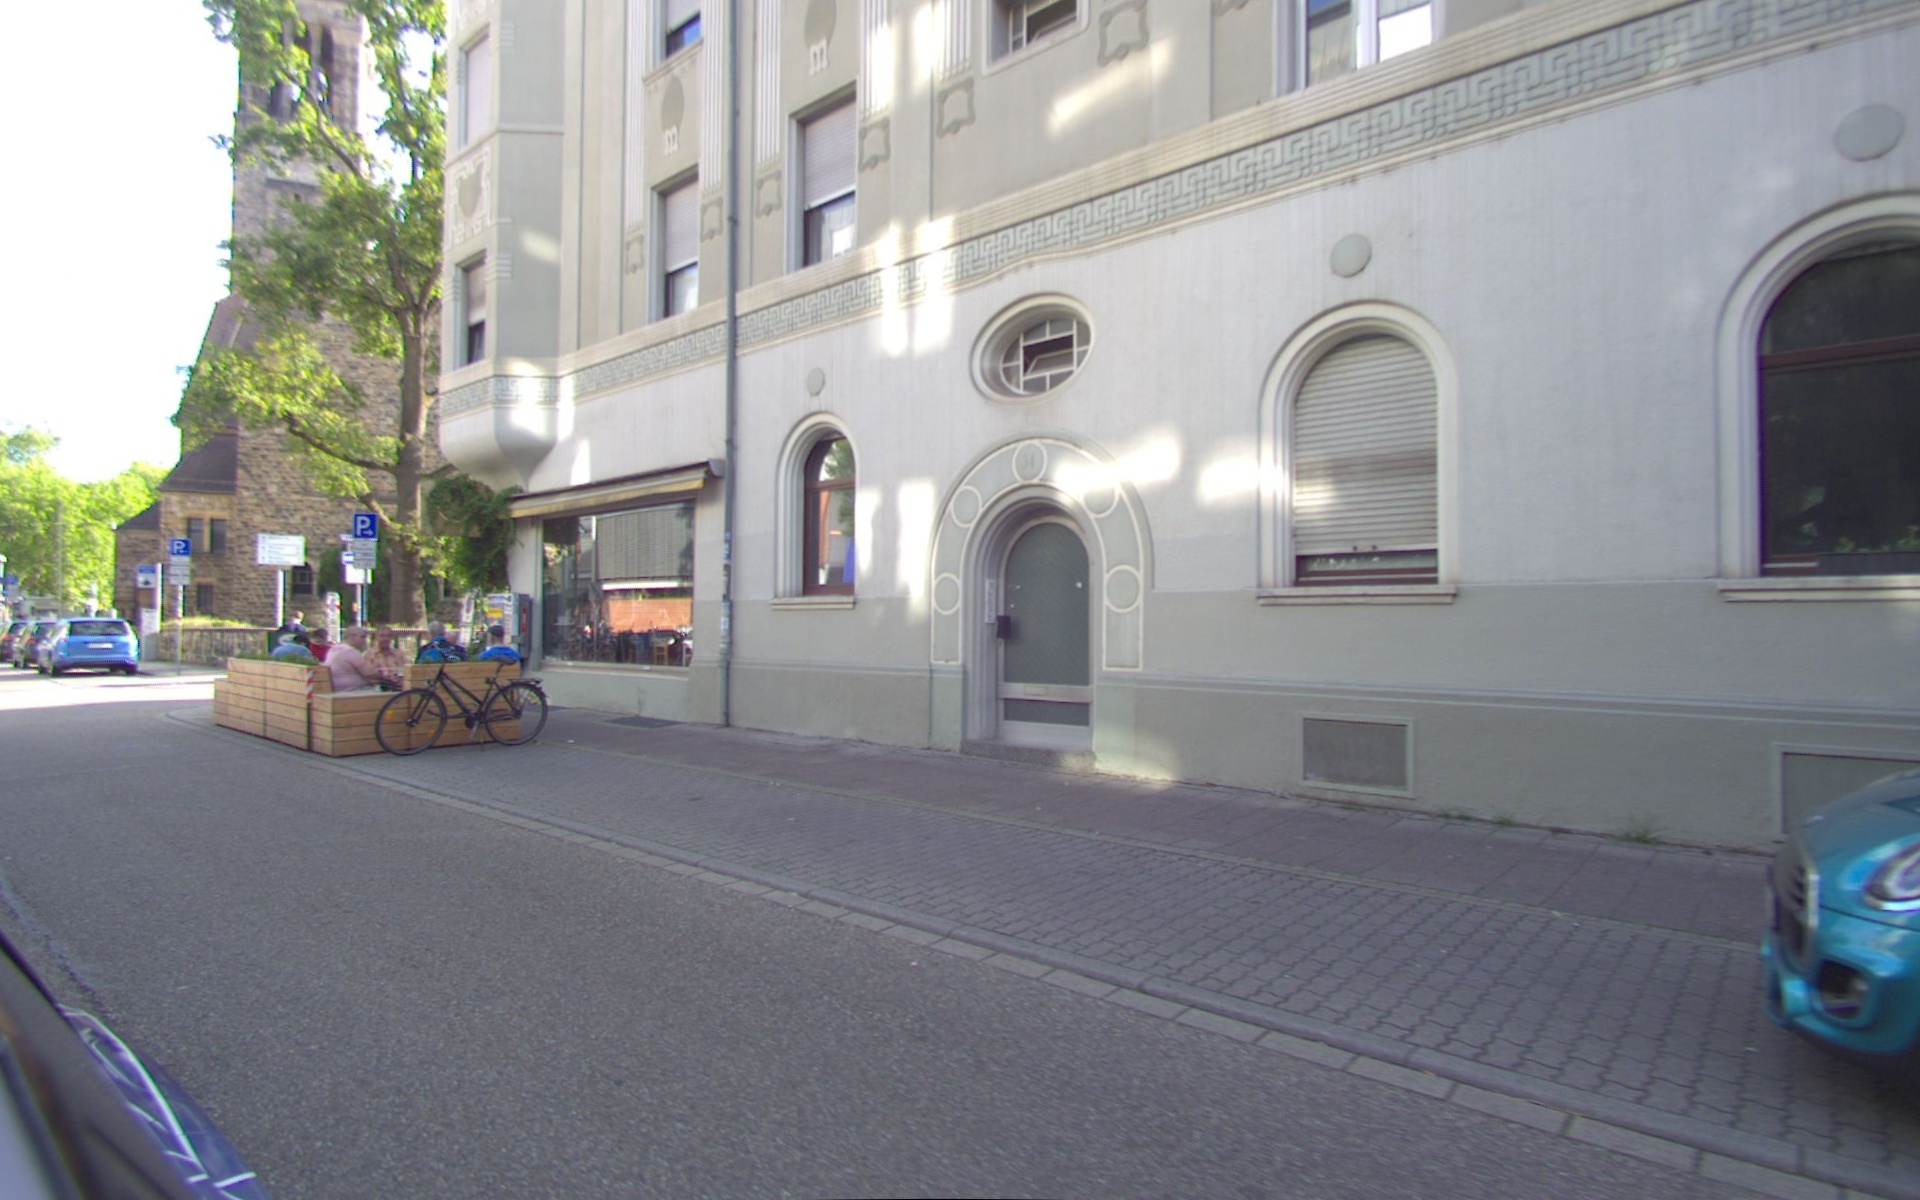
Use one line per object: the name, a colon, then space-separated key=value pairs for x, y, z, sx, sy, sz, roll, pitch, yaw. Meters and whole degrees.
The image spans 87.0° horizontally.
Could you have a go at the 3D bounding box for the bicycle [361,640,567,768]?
bicycle: x=-5.217 y=1.043 z=10.728 sx=0.688 sy=1.184 sz=1.848 roll=-1 pitch=-1 yaw=43

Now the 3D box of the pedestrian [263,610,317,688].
pedestrian: x=-15.241 y=1.104 z=23.025 sx=0.879 sy=1.722 sz=0.834 roll=-1 pitch=-1 yaw=42

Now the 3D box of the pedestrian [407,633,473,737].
pedestrian: x=-6.585 y=1.051 z=12.804 sx=0.589 sy=1.253 sz=0.694 roll=0 pitch=-1 yaw=-42

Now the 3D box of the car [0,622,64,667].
car: x=-32.255 y=1.485 z=34.646 sx=3.998 sy=1.431 sz=1.886 roll=-1 pitch=-1 yaw=41

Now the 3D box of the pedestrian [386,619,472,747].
pedestrian: x=-6.036 y=0.915 z=11.507 sx=0.740 sy=1.383 sz=0.680 roll=-1 pitch=-1 yaw=45

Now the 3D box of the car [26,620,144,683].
car: x=-22.858 y=1.285 z=26.389 sx=4.168 sy=1.497 sz=1.804 roll=-1 pitch=-1 yaw=41

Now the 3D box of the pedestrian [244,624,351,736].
pedestrian: x=-8.701 y=1.011 z=13.286 sx=1.073 sy=1.383 sz=0.896 roll=0 pitch=-1 yaw=-41

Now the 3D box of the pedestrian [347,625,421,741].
pedestrian: x=-7.068 y=0.990 z=12.414 sx=0.658 sy=1.346 sz=0.740 roll=0 pitch=-1 yaw=-42

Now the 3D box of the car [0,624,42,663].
car: x=-37.199 y=1.662 z=39.285 sx=3.998 sy=1.431 sz=1.886 roll=-1 pitch=-1 yaw=41

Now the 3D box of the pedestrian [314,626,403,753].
pedestrian: x=-6.824 y=0.984 z=11.481 sx=0.644 sy=1.359 sz=0.729 roll=-1 pitch=-1 yaw=44

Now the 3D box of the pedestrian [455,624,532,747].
pedestrian: x=-5.513 y=0.978 z=11.948 sx=0.684 sy=1.383 sz=0.628 roll=-1 pitch=-1 yaw=45

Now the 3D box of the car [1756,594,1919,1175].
car: x=4.218 y=0.675 z=2.078 sx=4.006 sy=1.426 sz=1.654 roll=-1 pitch=-1 yaw=38

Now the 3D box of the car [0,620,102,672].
car: x=-27.364 y=1.321 z=30.412 sx=3.998 sy=1.431 sz=1.886 roll=-1 pitch=-1 yaw=41
